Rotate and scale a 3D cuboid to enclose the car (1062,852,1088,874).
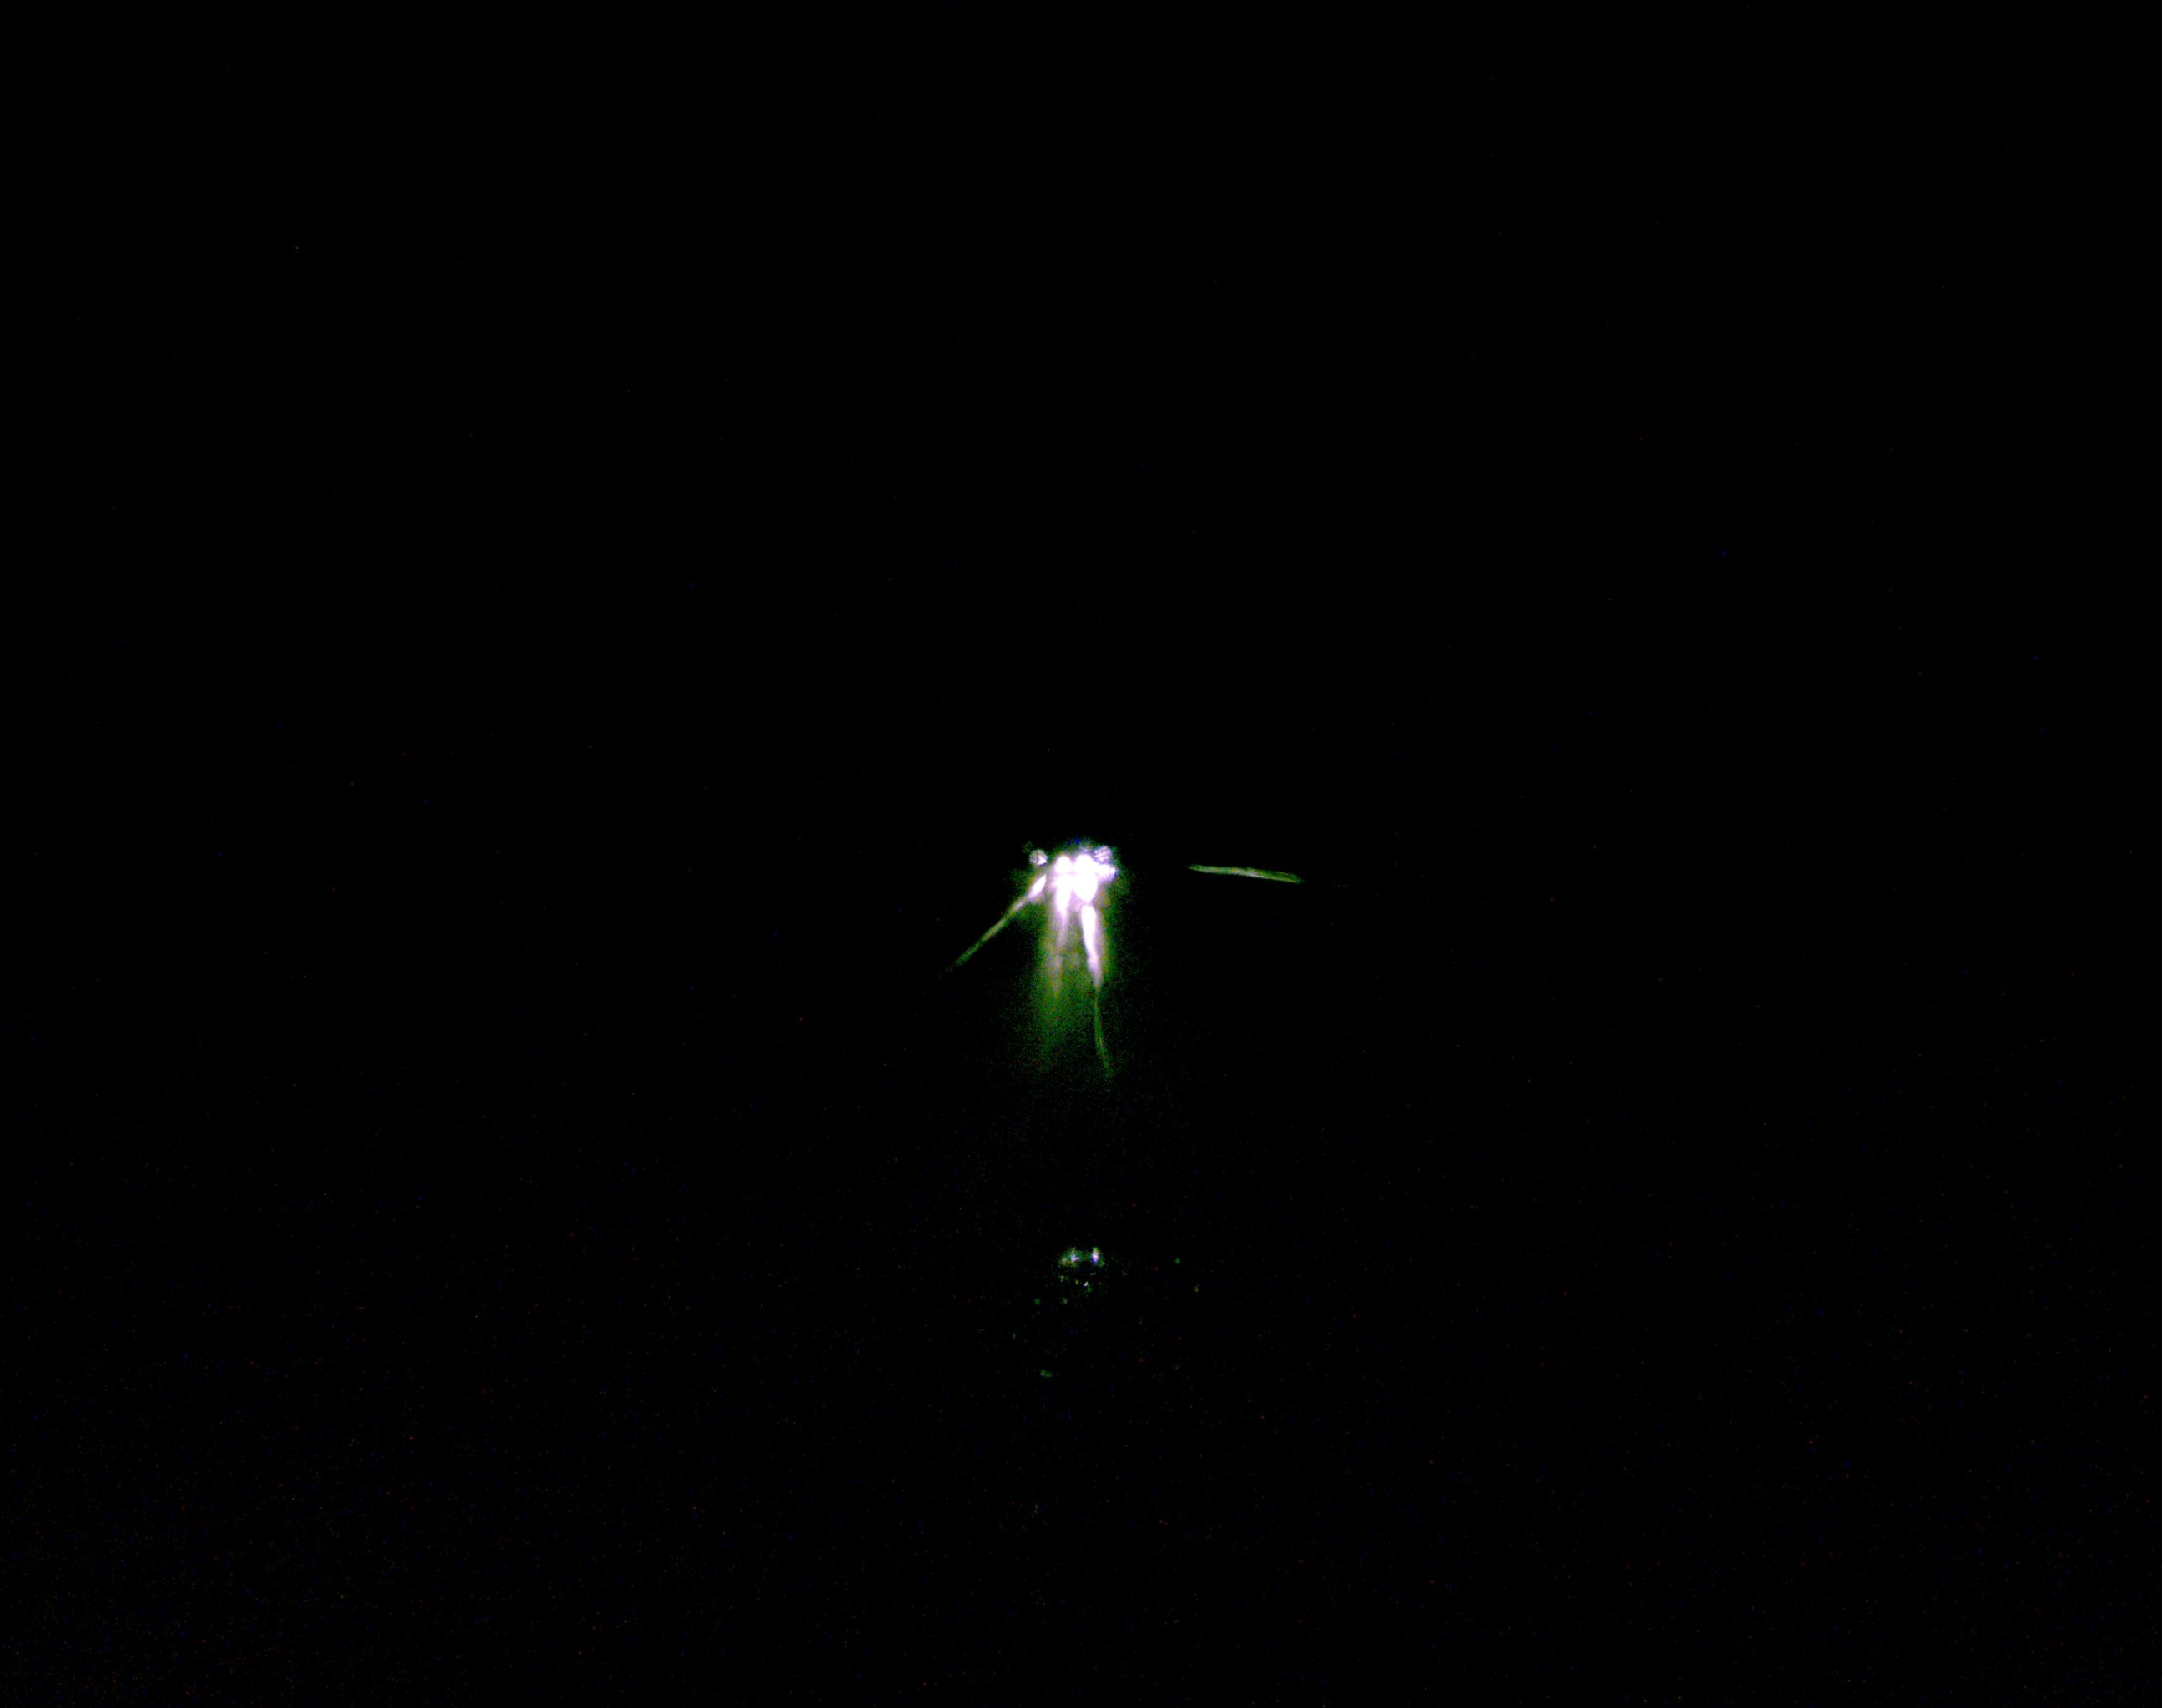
[{"bbox_3d":[-0.453,0.635,55.834,1.776,1.444,4.134,-2,1,-2],"label":"car"}]
